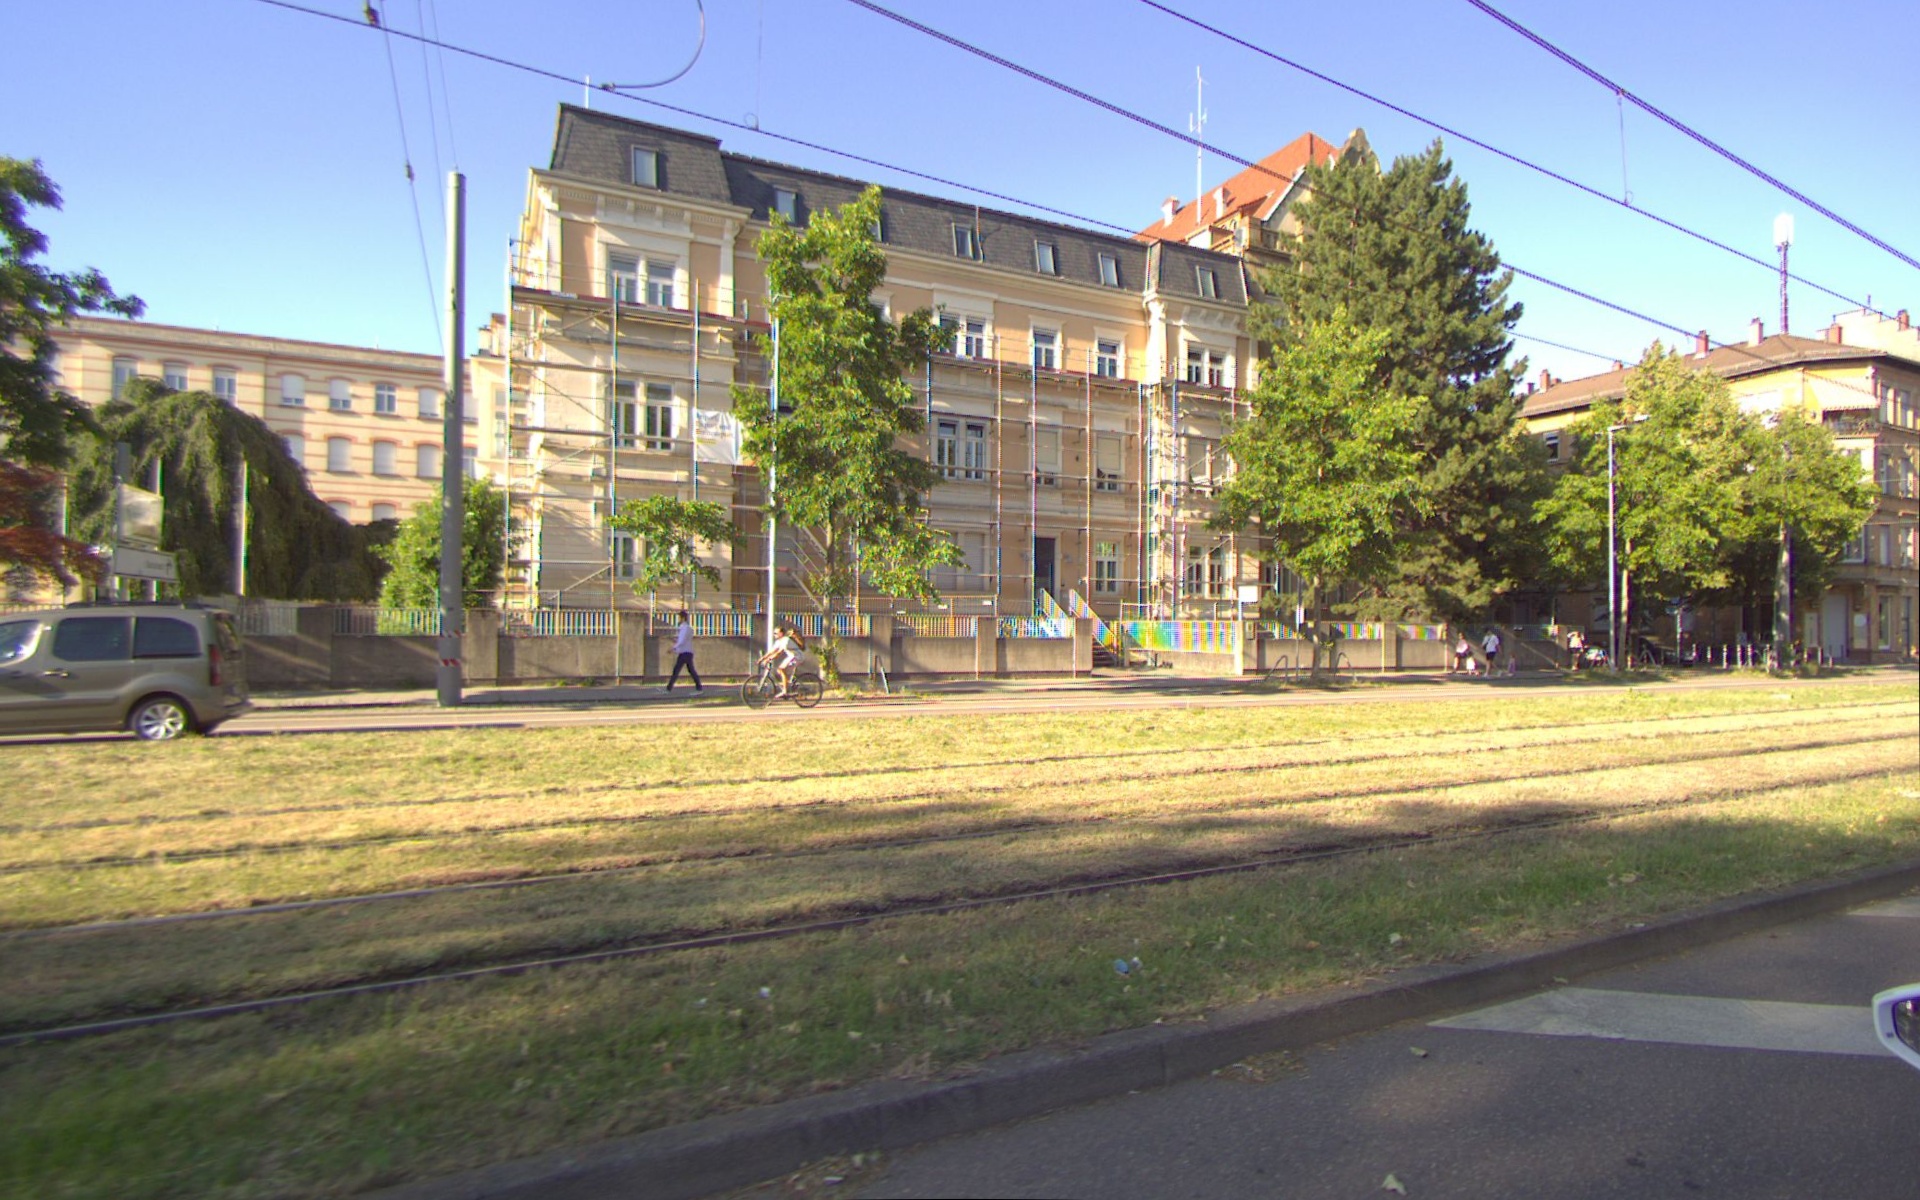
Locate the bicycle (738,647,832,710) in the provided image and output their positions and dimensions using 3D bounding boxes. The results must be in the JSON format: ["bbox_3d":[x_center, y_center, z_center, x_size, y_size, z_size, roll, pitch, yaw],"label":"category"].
[{"bbox_3d":[-3.584,1.591,20.572,1.732,1.209,0.772,2,1,-26],"label":"bicycle"}]

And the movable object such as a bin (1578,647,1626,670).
[{"bbox_3d":[26.680,2.438,41.767,1.221,0.876,1.240,2,0,-28],"label":"movable object such as a bin"}]

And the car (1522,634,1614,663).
[{"bbox_3d":[35.411,2.810,58.581,1.975,1.491,4.161,2,-1,-28],"label":"car"}]

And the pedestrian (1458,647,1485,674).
[{"bbox_3d":[18.629,2.205,36.597,0.577,0.944,0.648,1,-3,-25],"label":"pedestrian"}]

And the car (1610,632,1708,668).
[{"bbox_3d":[33.636,2.381,48.483,1.960,1.491,4.194,2,-1,3],"label":"car"}]

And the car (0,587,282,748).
[{"bbox_3d":[-11.706,0.847,13.111,4.413,1.944,1.933,2,-2,-25],"label":"car"}]

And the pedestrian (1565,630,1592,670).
[{"bbox_3d":[25.623,2.074,41.616,0.787,1.614,0.615,1,1,-28],"label":"pedestrian"}]

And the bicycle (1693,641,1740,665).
[{"bbox_3d":[40.282,2.803,53.477,2.203,1.194,0.785,2,1,-14],"label":"bicycle"}]

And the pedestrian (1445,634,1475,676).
[{"bbox_3d":[18.832,2.064,37.829,0.773,1.559,0.647,1,-2,-27],"label":"pedestrian"}]

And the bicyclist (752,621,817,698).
[{"bbox_3d":[-3.591,1.199,20.567,1.119,1.501,0.772,1,1,-26],"label":"bicyclist"}]

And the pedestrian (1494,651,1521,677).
[{"bbox_3d":[20.225,2.358,37.084,0.576,0.944,0.649,1,-2,-21],"label":"pedestrian"}]

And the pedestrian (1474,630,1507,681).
[{"bbox_3d":[18.937,1.983,35.877,0.877,1.798,0.647,1,-2,-27],"label":"pedestrian"}]

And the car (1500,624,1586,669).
[{"bbox_3d":[30.474,2.390,52.689,1.960,2.040,4.615,2,0,3],"label":"car"}]

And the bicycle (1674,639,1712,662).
[{"bbox_3d":[39.890,2.746,54.658,2.212,1.194,0.782,2,1,-28],"label":"bicycle"}]

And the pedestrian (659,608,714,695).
[{"bbox_3d":[-6.337,1.196,23.277,1.073,1.953,0.855,1,-3,-27],"label":"pedestrian"}]

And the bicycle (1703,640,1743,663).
[{"bbox_3d":[41.512,2.796,54.629,2.210,1.194,0.783,2,1,-25],"label":"bicycle"}]
